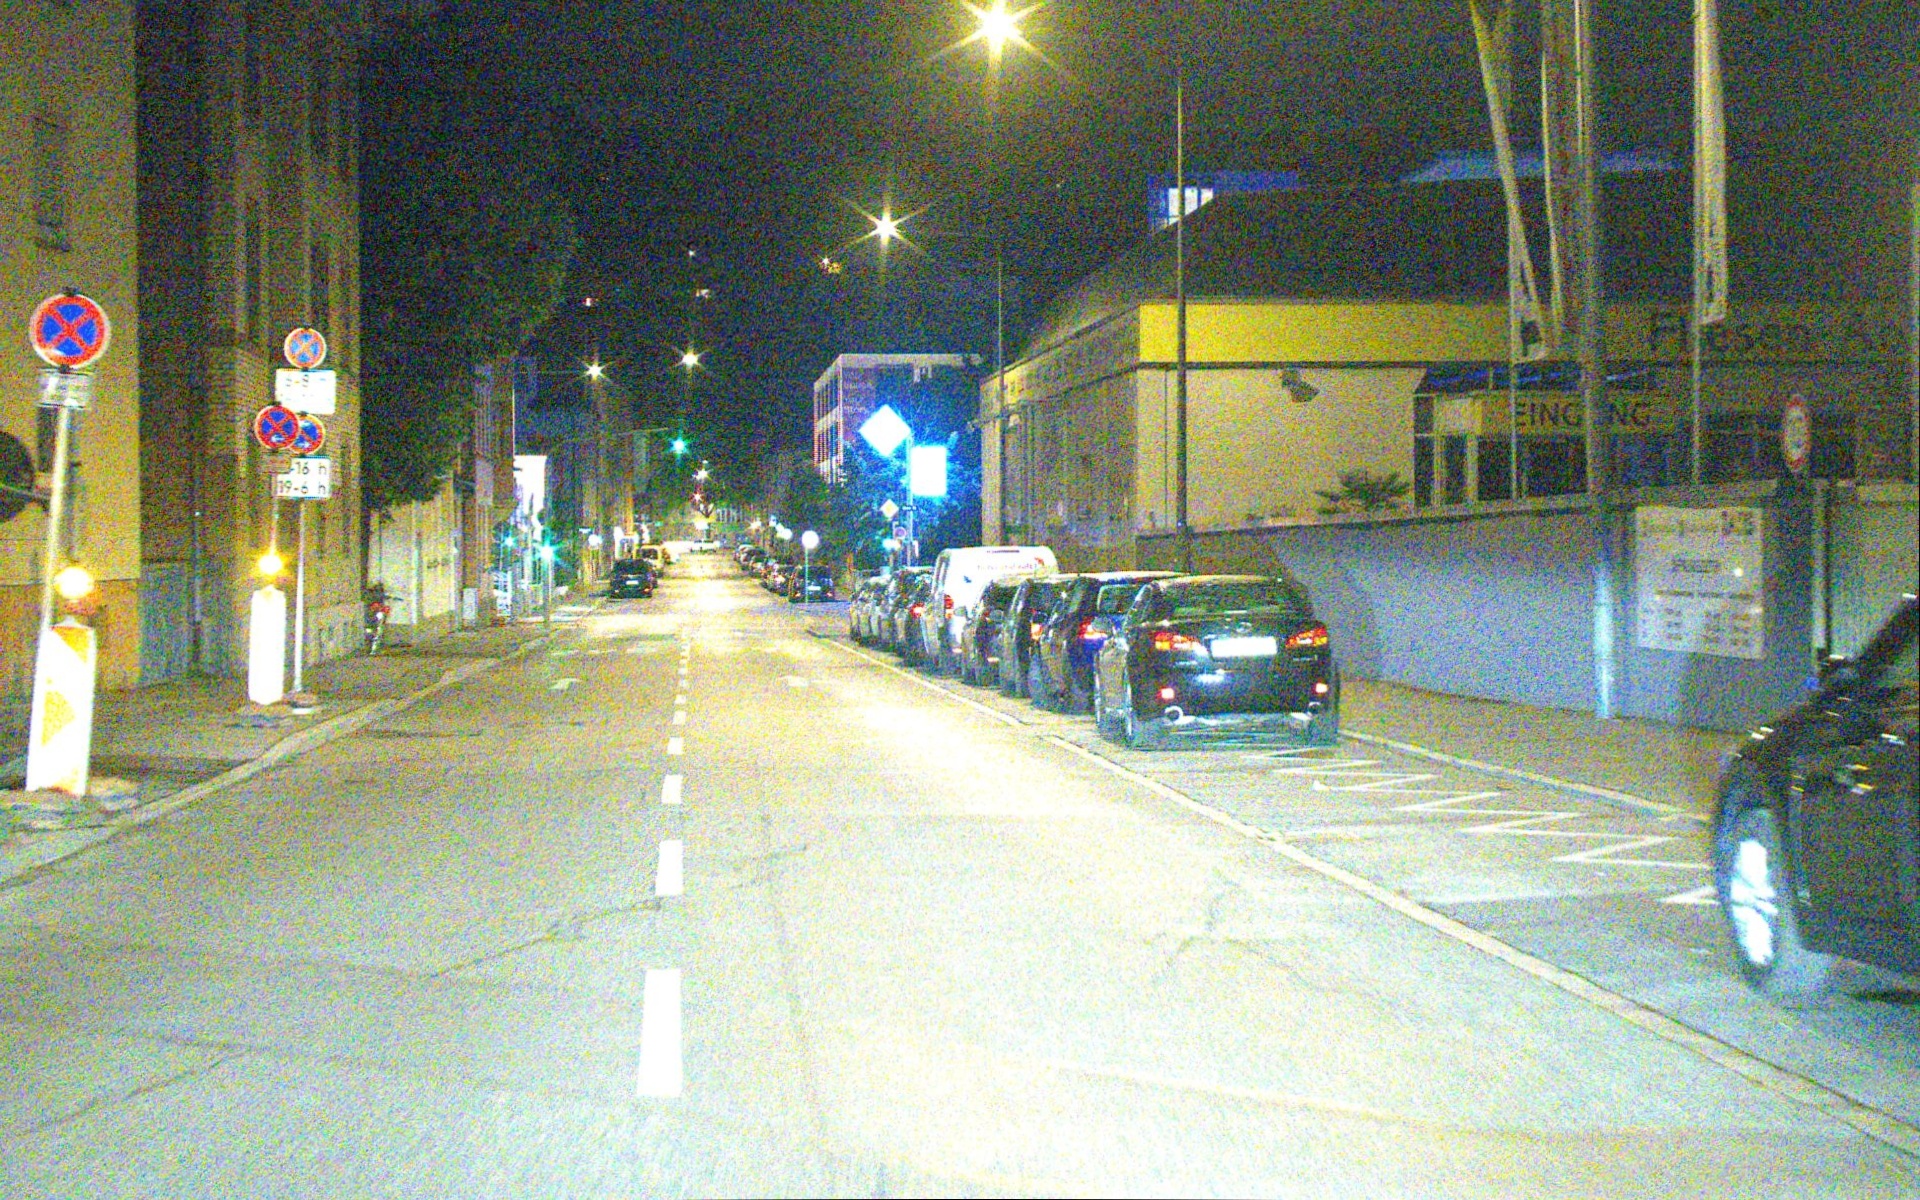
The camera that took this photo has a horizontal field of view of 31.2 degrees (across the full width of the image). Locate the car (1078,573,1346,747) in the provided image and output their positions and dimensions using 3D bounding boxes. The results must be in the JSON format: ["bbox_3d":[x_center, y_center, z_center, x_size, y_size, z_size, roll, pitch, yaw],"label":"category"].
[{"bbox_3d":[2.144,0.486,30.428,1.778,1.422,4.481,0,0,-3],"label":"car"}]

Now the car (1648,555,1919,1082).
[{"bbox_3d":[3.777,0.636,10.965,1.819,1.593,4.221,-3,0,-7],"label":"car"}]

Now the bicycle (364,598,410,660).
[{"bbox_3d":[-9.852,0.489,59.132,0.619,1.048,1.722,0,0,-4],"label":"bicycle"}]

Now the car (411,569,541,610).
[{"bbox_3d":[-17.116,-0.367,121.743,4.438,1.445,2.000,0,0,-4],"label":"car"}]

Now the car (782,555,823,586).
[{"bbox_3d":[-7.824,-1.452,170.739,1.993,1.515,4.000,0,0,-3],"label":"car"}]

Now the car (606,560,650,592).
[{"bbox_3d":[-15.923,-1.137,164.985,1.993,1.497,4.001,0,0,-4],"label":"car"}]

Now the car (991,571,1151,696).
[{"bbox_3d":[1.322,0.388,42.119,1.594,1.462,3.719,0,0,-4],"label":"car"}]

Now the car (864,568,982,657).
[{"bbox_3d":[-0.766,0.218,67.404,1.823,1.617,4.459,-1,1,-6],"label":"car"}]

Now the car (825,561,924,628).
[{"bbox_3d":[-2.003,-0.131,79.055,1.859,1.484,4.547,0,0,-7],"label":"car"}]

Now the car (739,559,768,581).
[{"bbox_3d":[-14.572,-2.109,242.782,1.993,1.515,4.000,0,0,-3],"label":"car"}]

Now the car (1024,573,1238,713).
[{"bbox_3d":[1.788,0.433,37.021,1.778,1.422,3.892,0,0,-5],"label":"car"}]

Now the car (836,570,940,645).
[{"bbox_3d":[-1.571,0.154,73.122,1.774,1.539,4.547,0,0,-7],"label":"car"}]

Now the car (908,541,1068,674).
[{"bbox_3d":[0.380,0.075,52.430,1.800,1.868,4.775,-2,1,-6],"label":"car"}]

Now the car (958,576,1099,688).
[{"bbox_3d":[0.892,0.413,46.758,1.594,1.462,3.892,0,0,-4],"label":"car"}]

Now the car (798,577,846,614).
[{"bbox_3d":[-5.911,-0.221,147.221,1.993,1.511,4.001,0,1,-3],"label":"car"}]

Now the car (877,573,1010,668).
[{"bbox_3d":[-0.314,0.311,57.249,1.816,1.422,4.189,-2,1,-5],"label":"car"}]

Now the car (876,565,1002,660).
[{"bbox_3d":[-0.423,0.190,62.335,1.823,1.583,4.629,-1,1,-6],"label":"car"}]
